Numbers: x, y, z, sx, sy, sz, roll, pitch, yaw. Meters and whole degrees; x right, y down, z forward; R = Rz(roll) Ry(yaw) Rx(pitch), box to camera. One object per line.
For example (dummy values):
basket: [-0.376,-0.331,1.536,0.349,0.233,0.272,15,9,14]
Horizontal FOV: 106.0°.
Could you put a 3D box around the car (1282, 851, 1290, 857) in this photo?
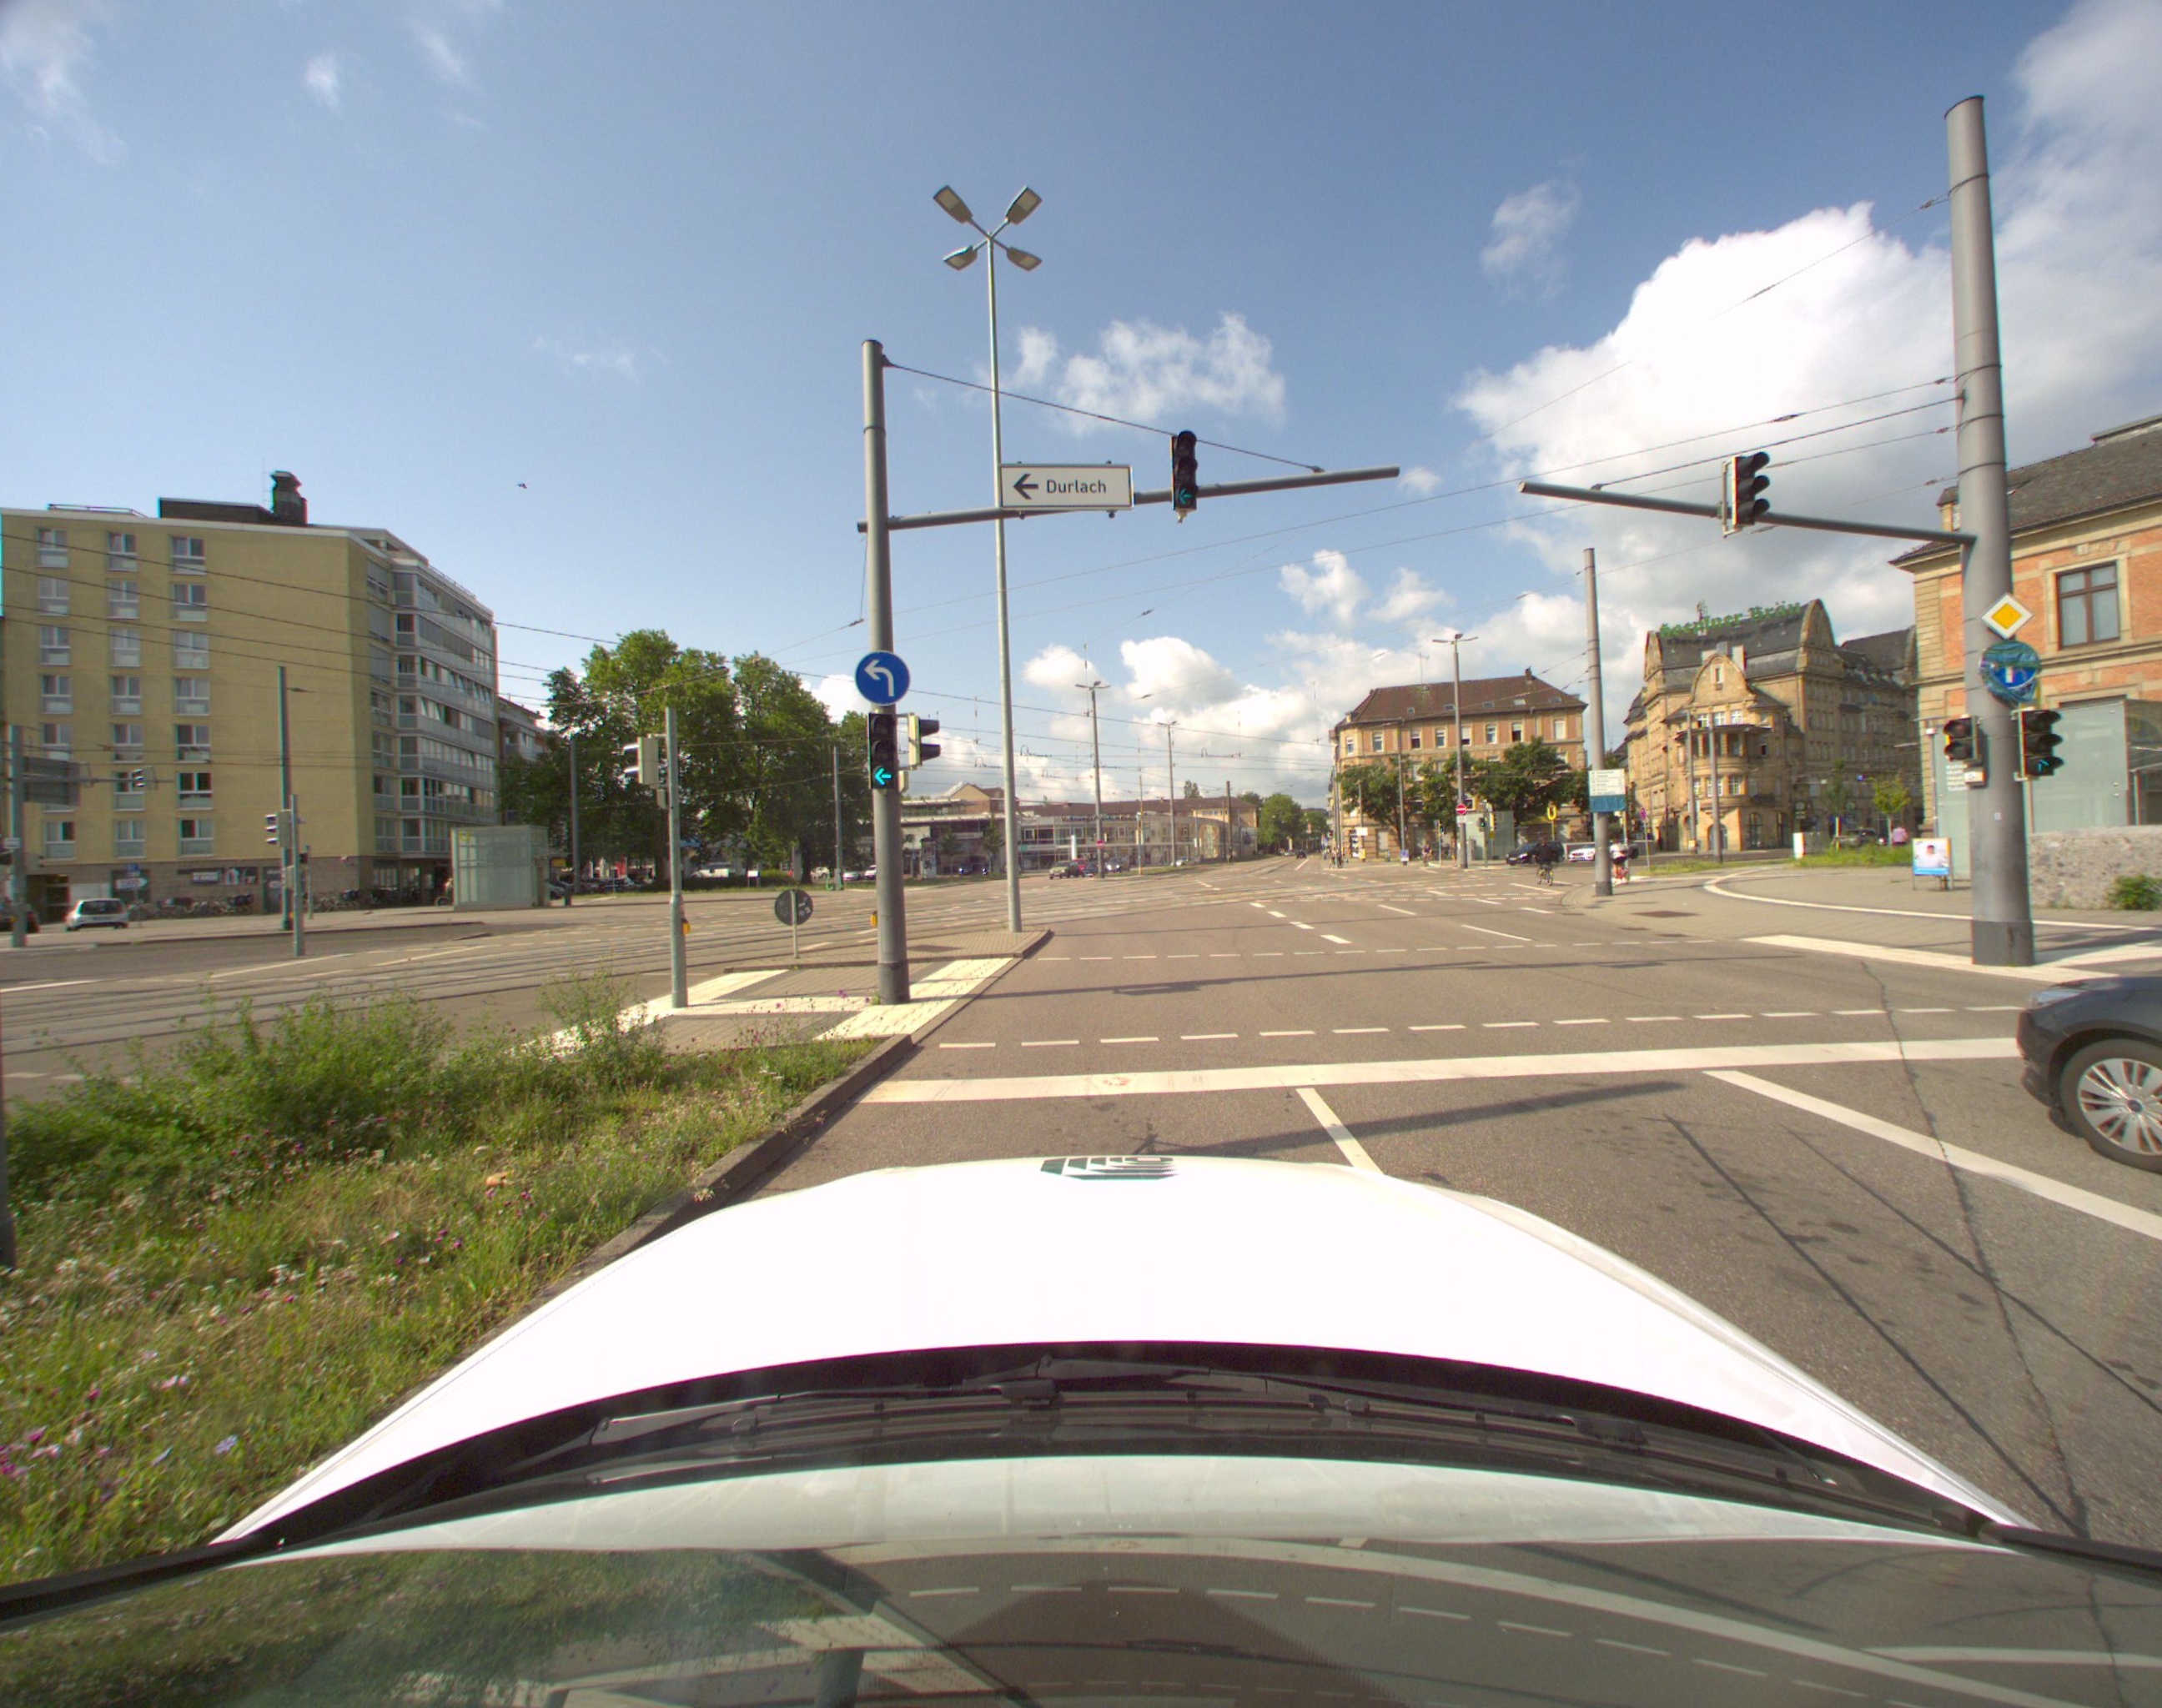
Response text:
car: [53.154,0.037,211.390,1.980,1.332,4.014,-2,0,13]

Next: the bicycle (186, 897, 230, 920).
bicycle: [-49.849,3.113,46.516,1.642,1.202,0.485,3,-2,-14]

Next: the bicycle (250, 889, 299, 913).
bicycle: [-46.465,2.697,46.954,1.892,1.272,0.484,3,1,-24]

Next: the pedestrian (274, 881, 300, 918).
pedestrian: [-39.089,2.240,40.098,0.790,1.759,0.984,-1,-1,-39]

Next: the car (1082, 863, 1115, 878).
car: [1.431,1.293,65.046,1.608,1.161,4.018,0,0,18]

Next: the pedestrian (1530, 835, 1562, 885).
pedestrian: [17.532,0.229,30.749,0.983,1.841,1.002,-1,0,27]

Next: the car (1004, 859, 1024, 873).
car: [-8.573,1.519,103.975,1.911,1.552,4.004,-2,0,3]

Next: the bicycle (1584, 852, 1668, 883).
bicycle: [19.404,0.497,29.120,0.989,1.028,3.109,1,-2,1]

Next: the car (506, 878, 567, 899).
car: [-43.176,2.742,64.696,3.570,1.530,1.989,0,0,-16]

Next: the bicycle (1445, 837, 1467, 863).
bicycle: [26.363,-0.253,57.315,0.727,1.777,1.636,-2,-1,-2]

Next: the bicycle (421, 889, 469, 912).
bicycle: [-36.185,2.638,46.351,1.996,1.127,0.782,-2,-1,-27]

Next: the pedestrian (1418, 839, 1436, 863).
pedestrian: [26.396,-0.231,62.114,0.865,1.810,0.884,0,0,-10]

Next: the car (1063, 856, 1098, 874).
car: [0.008,0.944,71.877,1.978,1.519,4.018,0,0,18]

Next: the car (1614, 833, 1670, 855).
car: [44.042,-0.772,63.943,4.006,1.600,1.741,-2,-1,-24]

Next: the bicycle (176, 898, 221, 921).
bicycle: [-49.784,3.124,45.957,1.642,1.202,0.546,3,-2,-14]

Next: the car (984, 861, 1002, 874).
car: [-11.034,1.687,102.122,1.914,1.445,3.998,-2,0,-1]

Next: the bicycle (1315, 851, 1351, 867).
bicycle: [20.260,0.386,65.506,2.668,1.170,0.899,-2,0,-6]

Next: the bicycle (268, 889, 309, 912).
bicycle: [-46.301,2.696,47.573,1.642,1.272,0.485,3,-2,-14]

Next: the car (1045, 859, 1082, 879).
car: [-1.385,1.187,65.700,1.806,1.513,4.018,0,0,18]

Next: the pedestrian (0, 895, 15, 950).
pedestrian: [-34.327,2.151,25.483,0.794,1.673,0.840,3,2,-17]

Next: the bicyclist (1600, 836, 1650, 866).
bicyclist: [19.413,-0.093,29.100,0.987,1.028,1.215,1,-2,1]

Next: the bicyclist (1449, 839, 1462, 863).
bicyclist: [26.352,-0.193,57.300,0.571,1.671,0.656,-2,-1,-2]

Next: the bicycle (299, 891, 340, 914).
bicycle: [-44.923,2.841,48.042,1.642,1.272,0.485,3,-2,-14]

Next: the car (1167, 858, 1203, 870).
car: [13.210,1.284,103.744,4.498,1.464,1.764,0,0,-32]

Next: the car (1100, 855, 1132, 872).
car: [3.545,0.900,80.978,1.976,1.552,4.021,-2,0,21]

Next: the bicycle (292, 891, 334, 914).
bicycle: [-44.792,2.840,47.521,1.642,1.272,0.529,3,-2,-14]

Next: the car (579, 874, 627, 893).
car: [-46.336,2.866,79.040,3.611,1.594,1.659,-2,0,-12]

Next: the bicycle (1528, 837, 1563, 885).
bicycle: [17.508,0.260,30.751,0.996,1.725,2.483,-1,0,27]

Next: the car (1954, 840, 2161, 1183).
car: [5.755,0.716,2.430,1.761,1.528,4.256,-2,1,1]

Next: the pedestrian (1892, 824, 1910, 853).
pedestrian: [43.070,-0.796,42.782,0.501,1.505,0.501,-2,-1,-33]

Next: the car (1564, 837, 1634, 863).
car: [36.906,-0.303,58.027,4.693,1.595,1.983,-3,1,-25]

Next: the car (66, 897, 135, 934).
car: [-46.685,2.874,38.765,3.467,1.440,1.730,2,-1,34]

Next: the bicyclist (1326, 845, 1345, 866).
bicyclist: [20.425,0.124,65.473,1.192,1.658,0.784,-2,0,-6]

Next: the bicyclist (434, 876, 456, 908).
bicyclist: [-36.202,2.164,46.374,0.830,1.745,0.705,-2,-1,-27]

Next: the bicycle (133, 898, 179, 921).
bicycle: [-51.654,3.126,45.503,1.642,1.202,0.485,3,-2,-14]

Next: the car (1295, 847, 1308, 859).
car: [40.316,-0.189,148.800,1.977,2.013,4.020,-2,0,20]

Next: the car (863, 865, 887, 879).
car: [-26.151,2.248,103.516,2.062,1.604,3.997,-2,0,-2]

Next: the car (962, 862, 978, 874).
car: [-14.022,1.777,102.505,1.918,1.445,3.989,-2,0,-8]

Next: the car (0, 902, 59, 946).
car: [-49.466,3.214,37.855,5.000,1.468,1.903,4,1,33]

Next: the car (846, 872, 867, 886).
car: [-28.558,3.152,103.836,1.991,1.574,3.991,0,0,-6]

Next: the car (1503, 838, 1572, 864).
car: [31.072,-0.194,55.434,4.349,1.739,1.983,0,0,-26]

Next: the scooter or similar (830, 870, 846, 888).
scooter or similar: [-16.337,1.700,54.779,0.377,1.157,0.935,4,1,36]

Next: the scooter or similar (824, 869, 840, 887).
scooter or similar: [-16.842,1.617,55.068,0.934,1.157,0.377,2,1,-43]

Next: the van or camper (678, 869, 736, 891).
van or camper: [-44.576,3.059,97.072,5.848,2.469,2.396,0,0,5]

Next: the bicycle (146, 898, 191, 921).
bicycle: [-51.585,3.126,46.070,1.642,1.202,0.485,3,-2,-14]
